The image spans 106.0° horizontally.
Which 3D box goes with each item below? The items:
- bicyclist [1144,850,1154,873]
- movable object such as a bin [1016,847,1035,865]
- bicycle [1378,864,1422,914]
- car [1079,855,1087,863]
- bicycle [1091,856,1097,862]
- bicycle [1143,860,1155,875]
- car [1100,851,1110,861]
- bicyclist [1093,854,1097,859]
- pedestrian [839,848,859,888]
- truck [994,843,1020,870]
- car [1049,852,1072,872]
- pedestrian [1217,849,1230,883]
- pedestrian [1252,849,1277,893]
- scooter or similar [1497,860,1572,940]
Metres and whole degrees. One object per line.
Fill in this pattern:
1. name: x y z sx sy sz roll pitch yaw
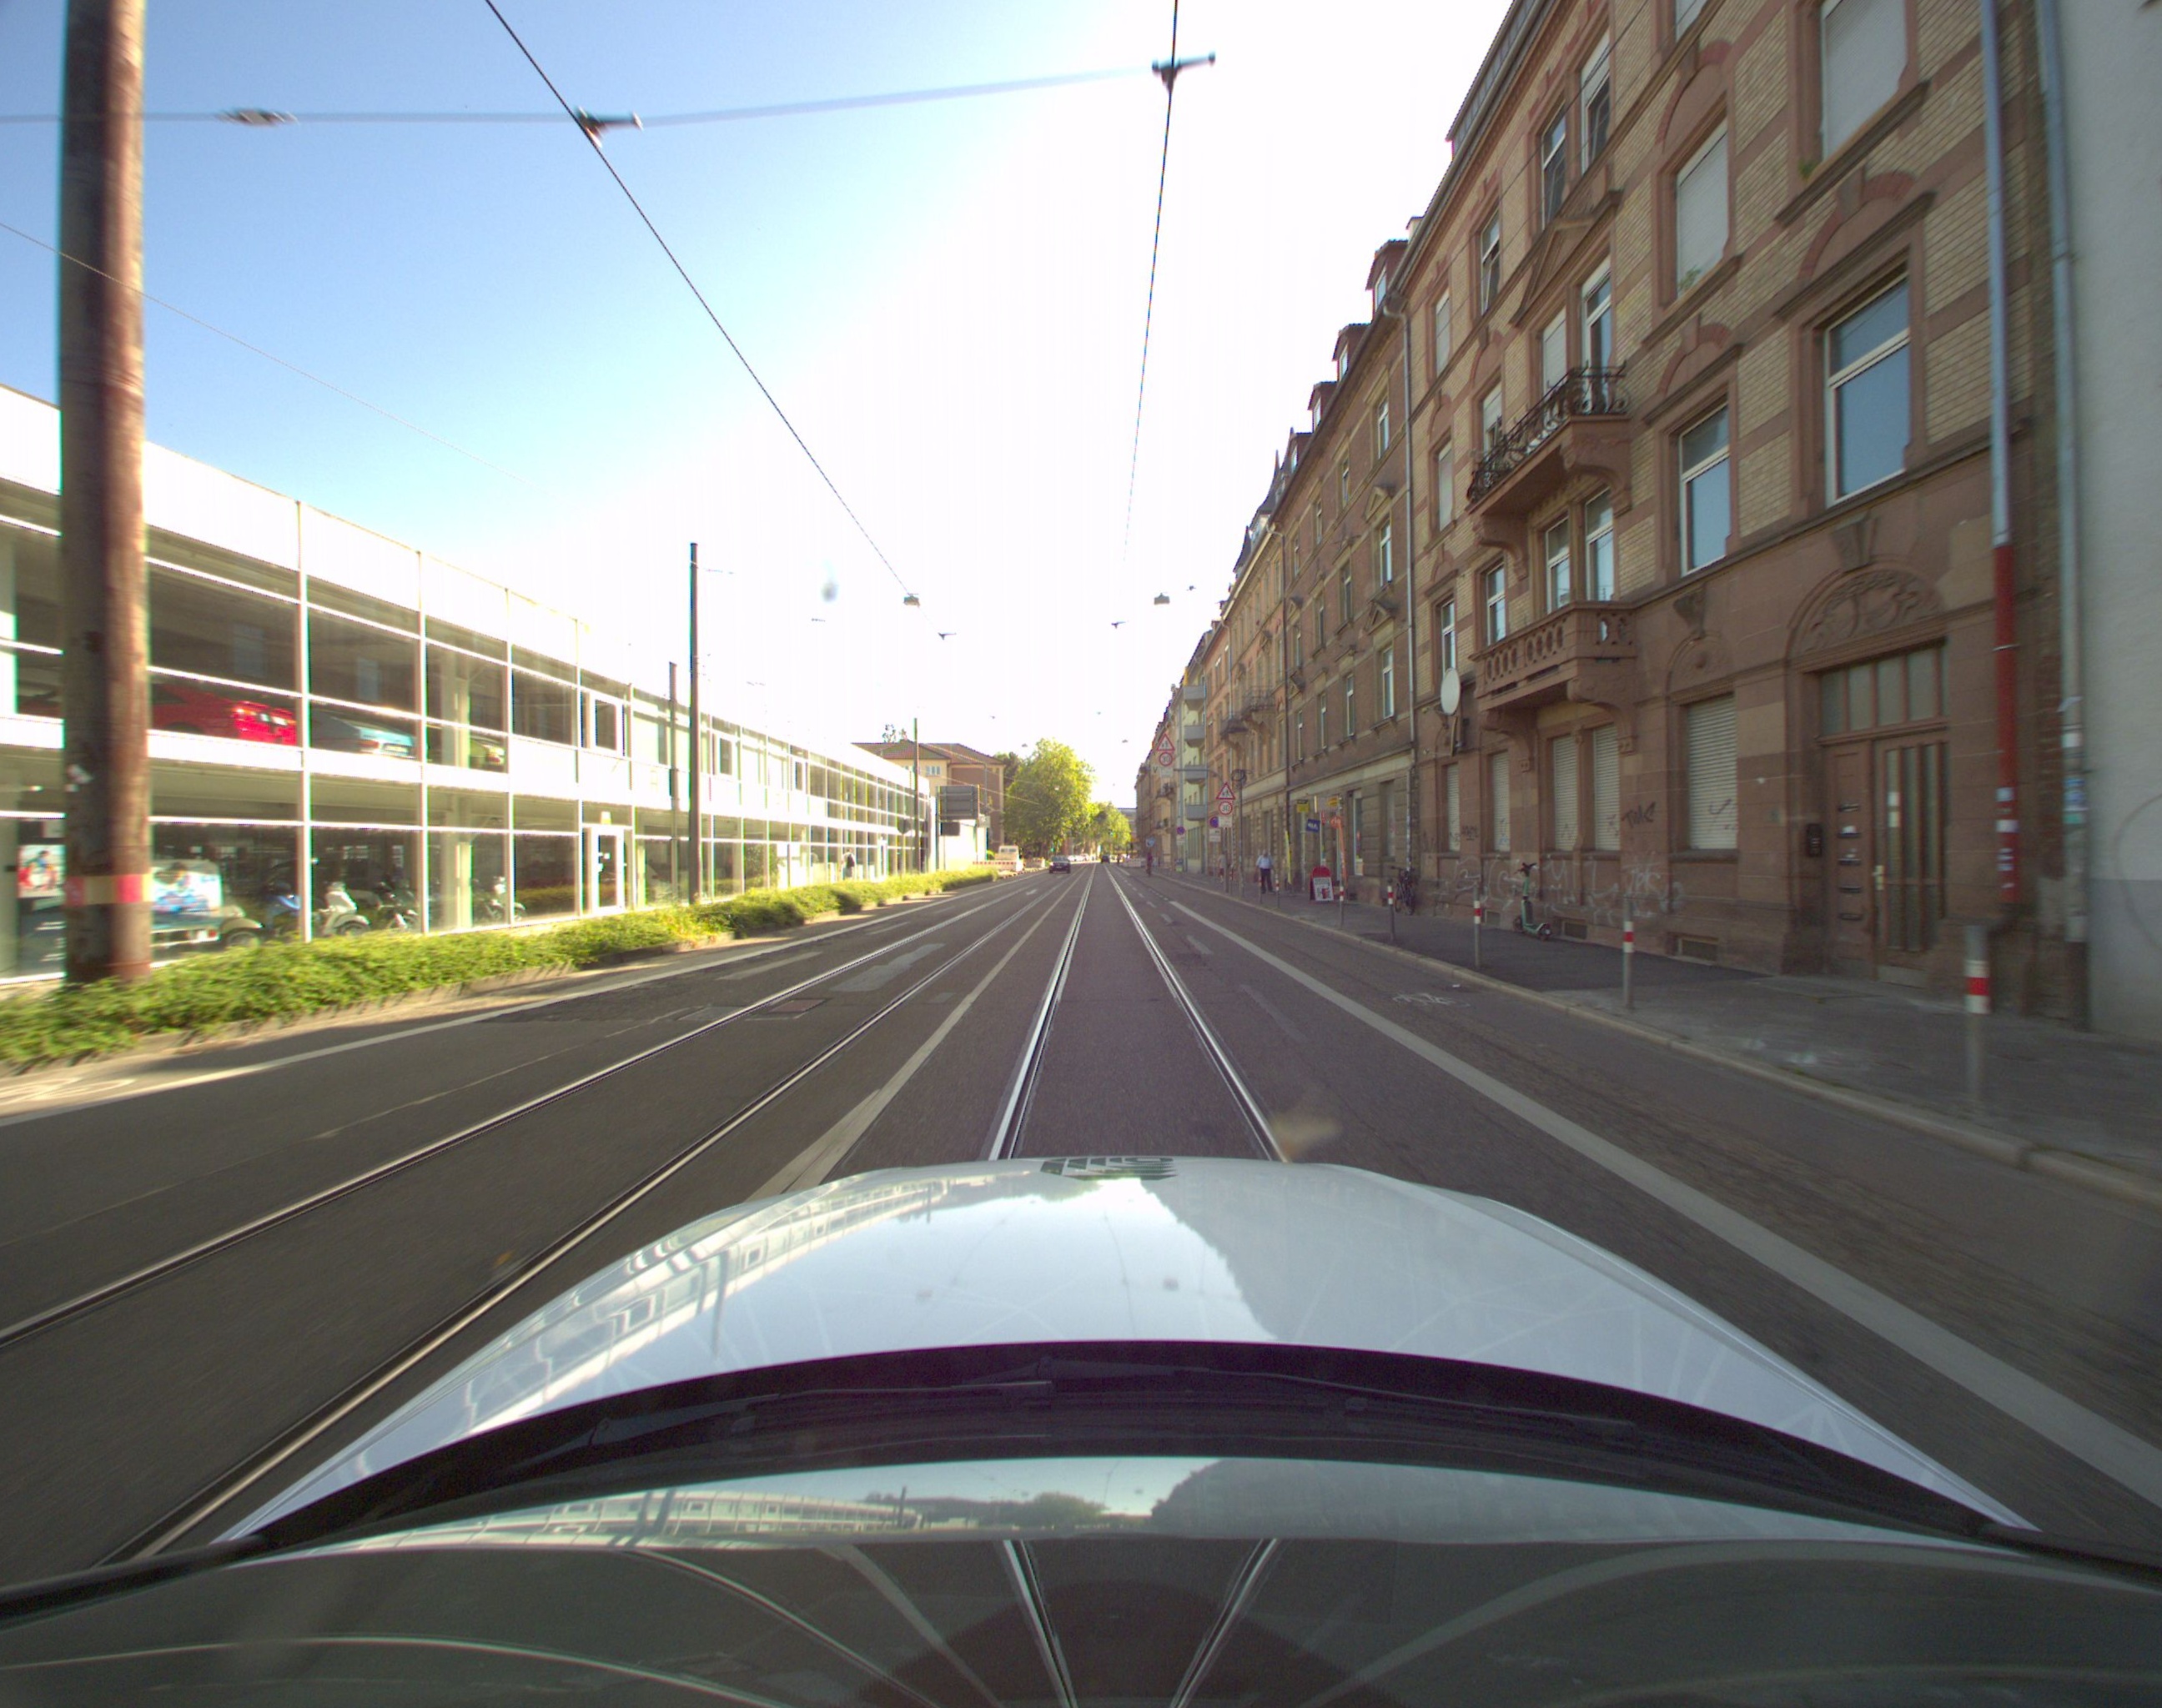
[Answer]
1. bicyclist: 5.087 0.594 61.120 0.665 1.697 1.043 1 -1 1
2. movable object such as a bin: -8.279 0.317 121.449 2.488 2.645 5.985 1 0 -1
3. bicycle: 7.573 0.810 19.399 0.408 1.121 1.900 -2 -1 5
4. car: 0.534 1.429 224.943 2.049 2.052 4.047 1 -1 4
5. bicycle: 3.965 1.469 245.035 1.227 1.572 2.904 1 -1 8
6. bicycle: 5.082 1.021 61.120 0.678 1.114 2.707 1 0 1
7. car: 4.875 0.411 164.949 1.986 2.014 4.001 1 -1 2
8. bicyclist: 4.106 0.732 244.954 1.071 1.428 1.149 1 -1 9
9. pedestrian: -10.429 0.638 36.604 0.525 1.765 1.051 1 -1 1
10. truck: -8.162 0.262 90.344 2.532 2.830 6.370 1 -1 -2
11. car: -1.808 0.754 72.544 1.752 1.697 4.146 1 -1 2
12. pedestrian: 7.228 0.624 41.403 0.550 1.701 0.474 -3 -1 4
13. pedestrian: 6.913 0.635 30.681 0.795 1.605 0.653 -1 -1 3
14. scooter or similar: 7.368 0.720 13.295 0.405 1.211 1.481 -2 -1 2
